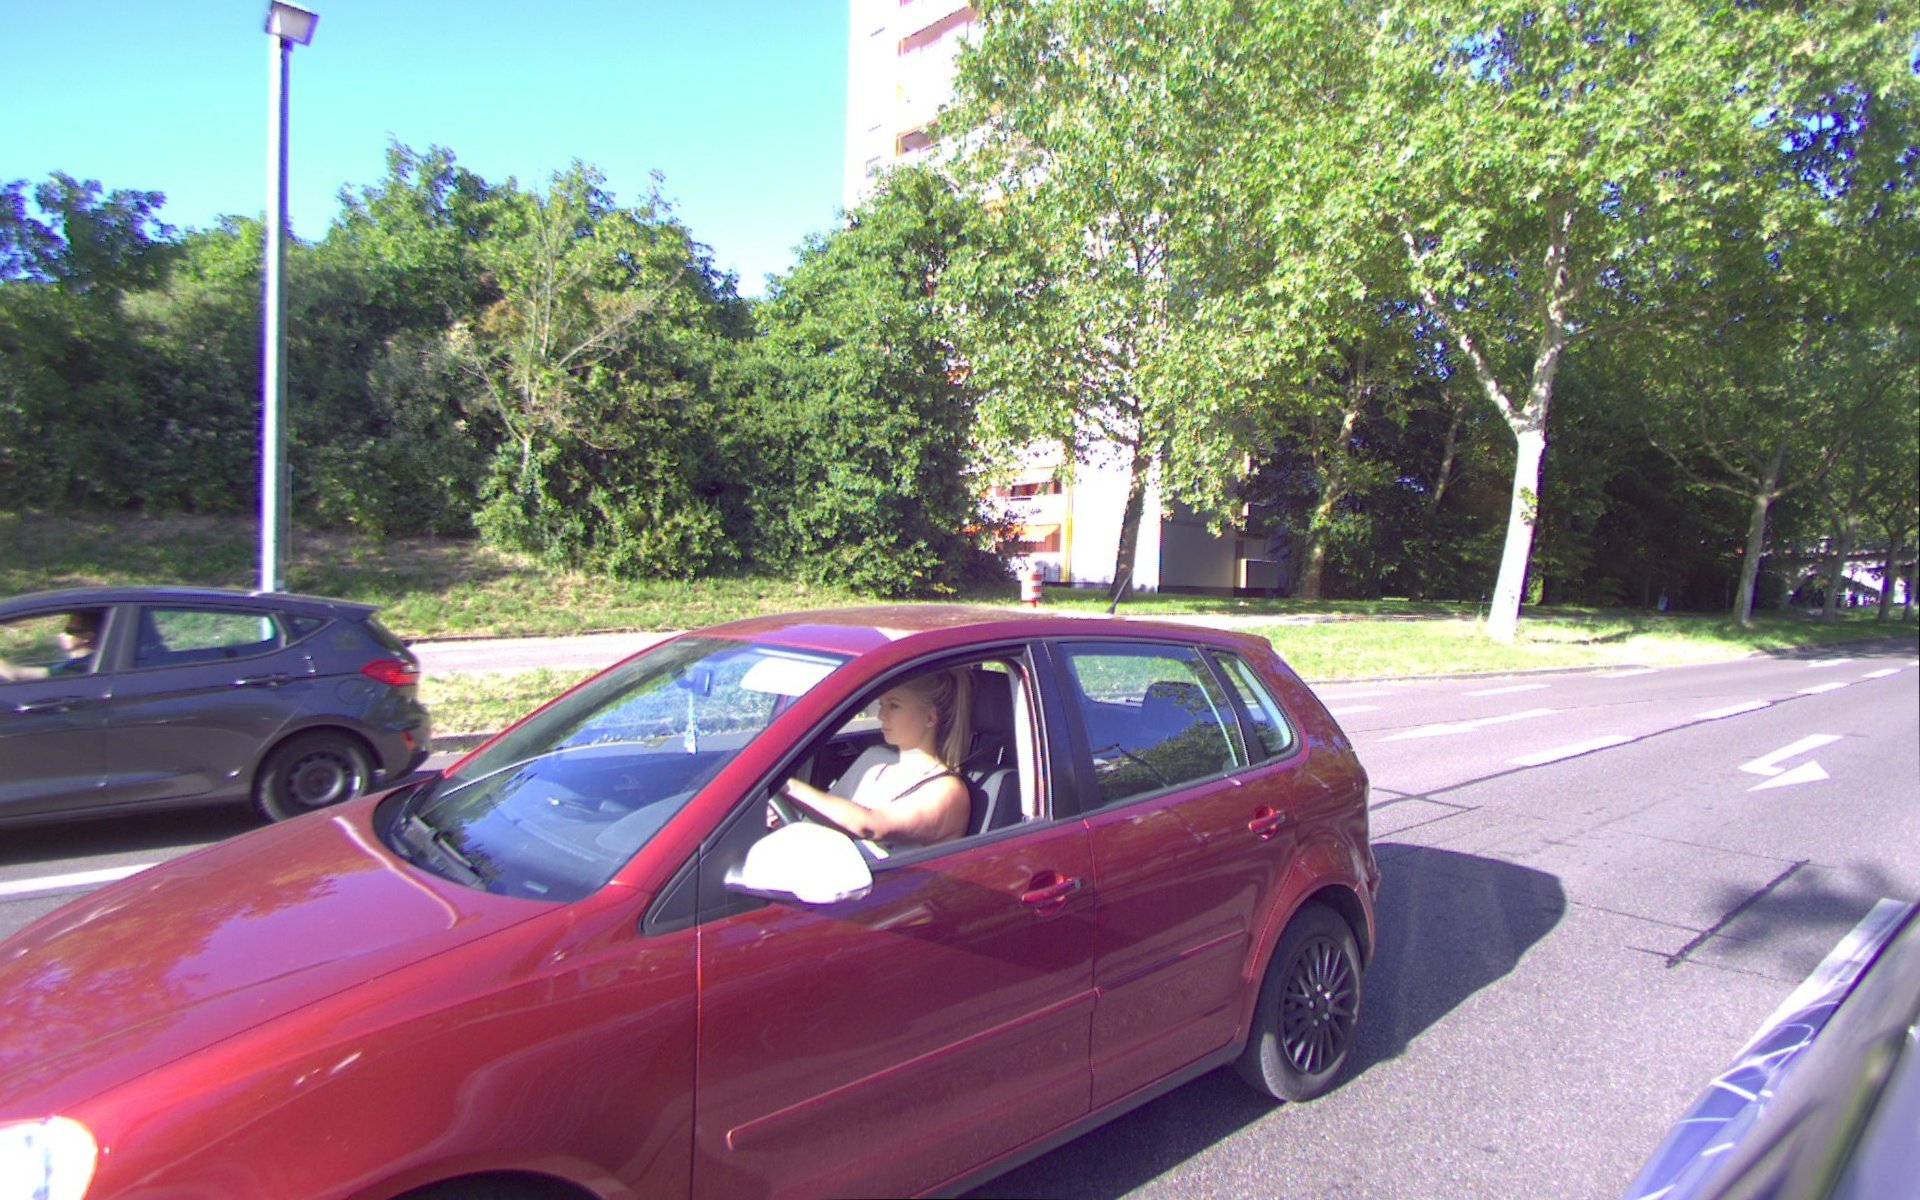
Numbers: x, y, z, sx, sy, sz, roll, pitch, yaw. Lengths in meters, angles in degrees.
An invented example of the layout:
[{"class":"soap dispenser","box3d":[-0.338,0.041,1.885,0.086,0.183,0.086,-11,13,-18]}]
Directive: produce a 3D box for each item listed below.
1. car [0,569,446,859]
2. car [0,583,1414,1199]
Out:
[{"class":"car","box3d":[-5.316,0.565,5.978,3.821,1.487,1.751,0,1,-38]},{"class":"car","box3d":[-0.459,0.693,2.761,3.627,1.434,1.626,0,1,-39]}]
